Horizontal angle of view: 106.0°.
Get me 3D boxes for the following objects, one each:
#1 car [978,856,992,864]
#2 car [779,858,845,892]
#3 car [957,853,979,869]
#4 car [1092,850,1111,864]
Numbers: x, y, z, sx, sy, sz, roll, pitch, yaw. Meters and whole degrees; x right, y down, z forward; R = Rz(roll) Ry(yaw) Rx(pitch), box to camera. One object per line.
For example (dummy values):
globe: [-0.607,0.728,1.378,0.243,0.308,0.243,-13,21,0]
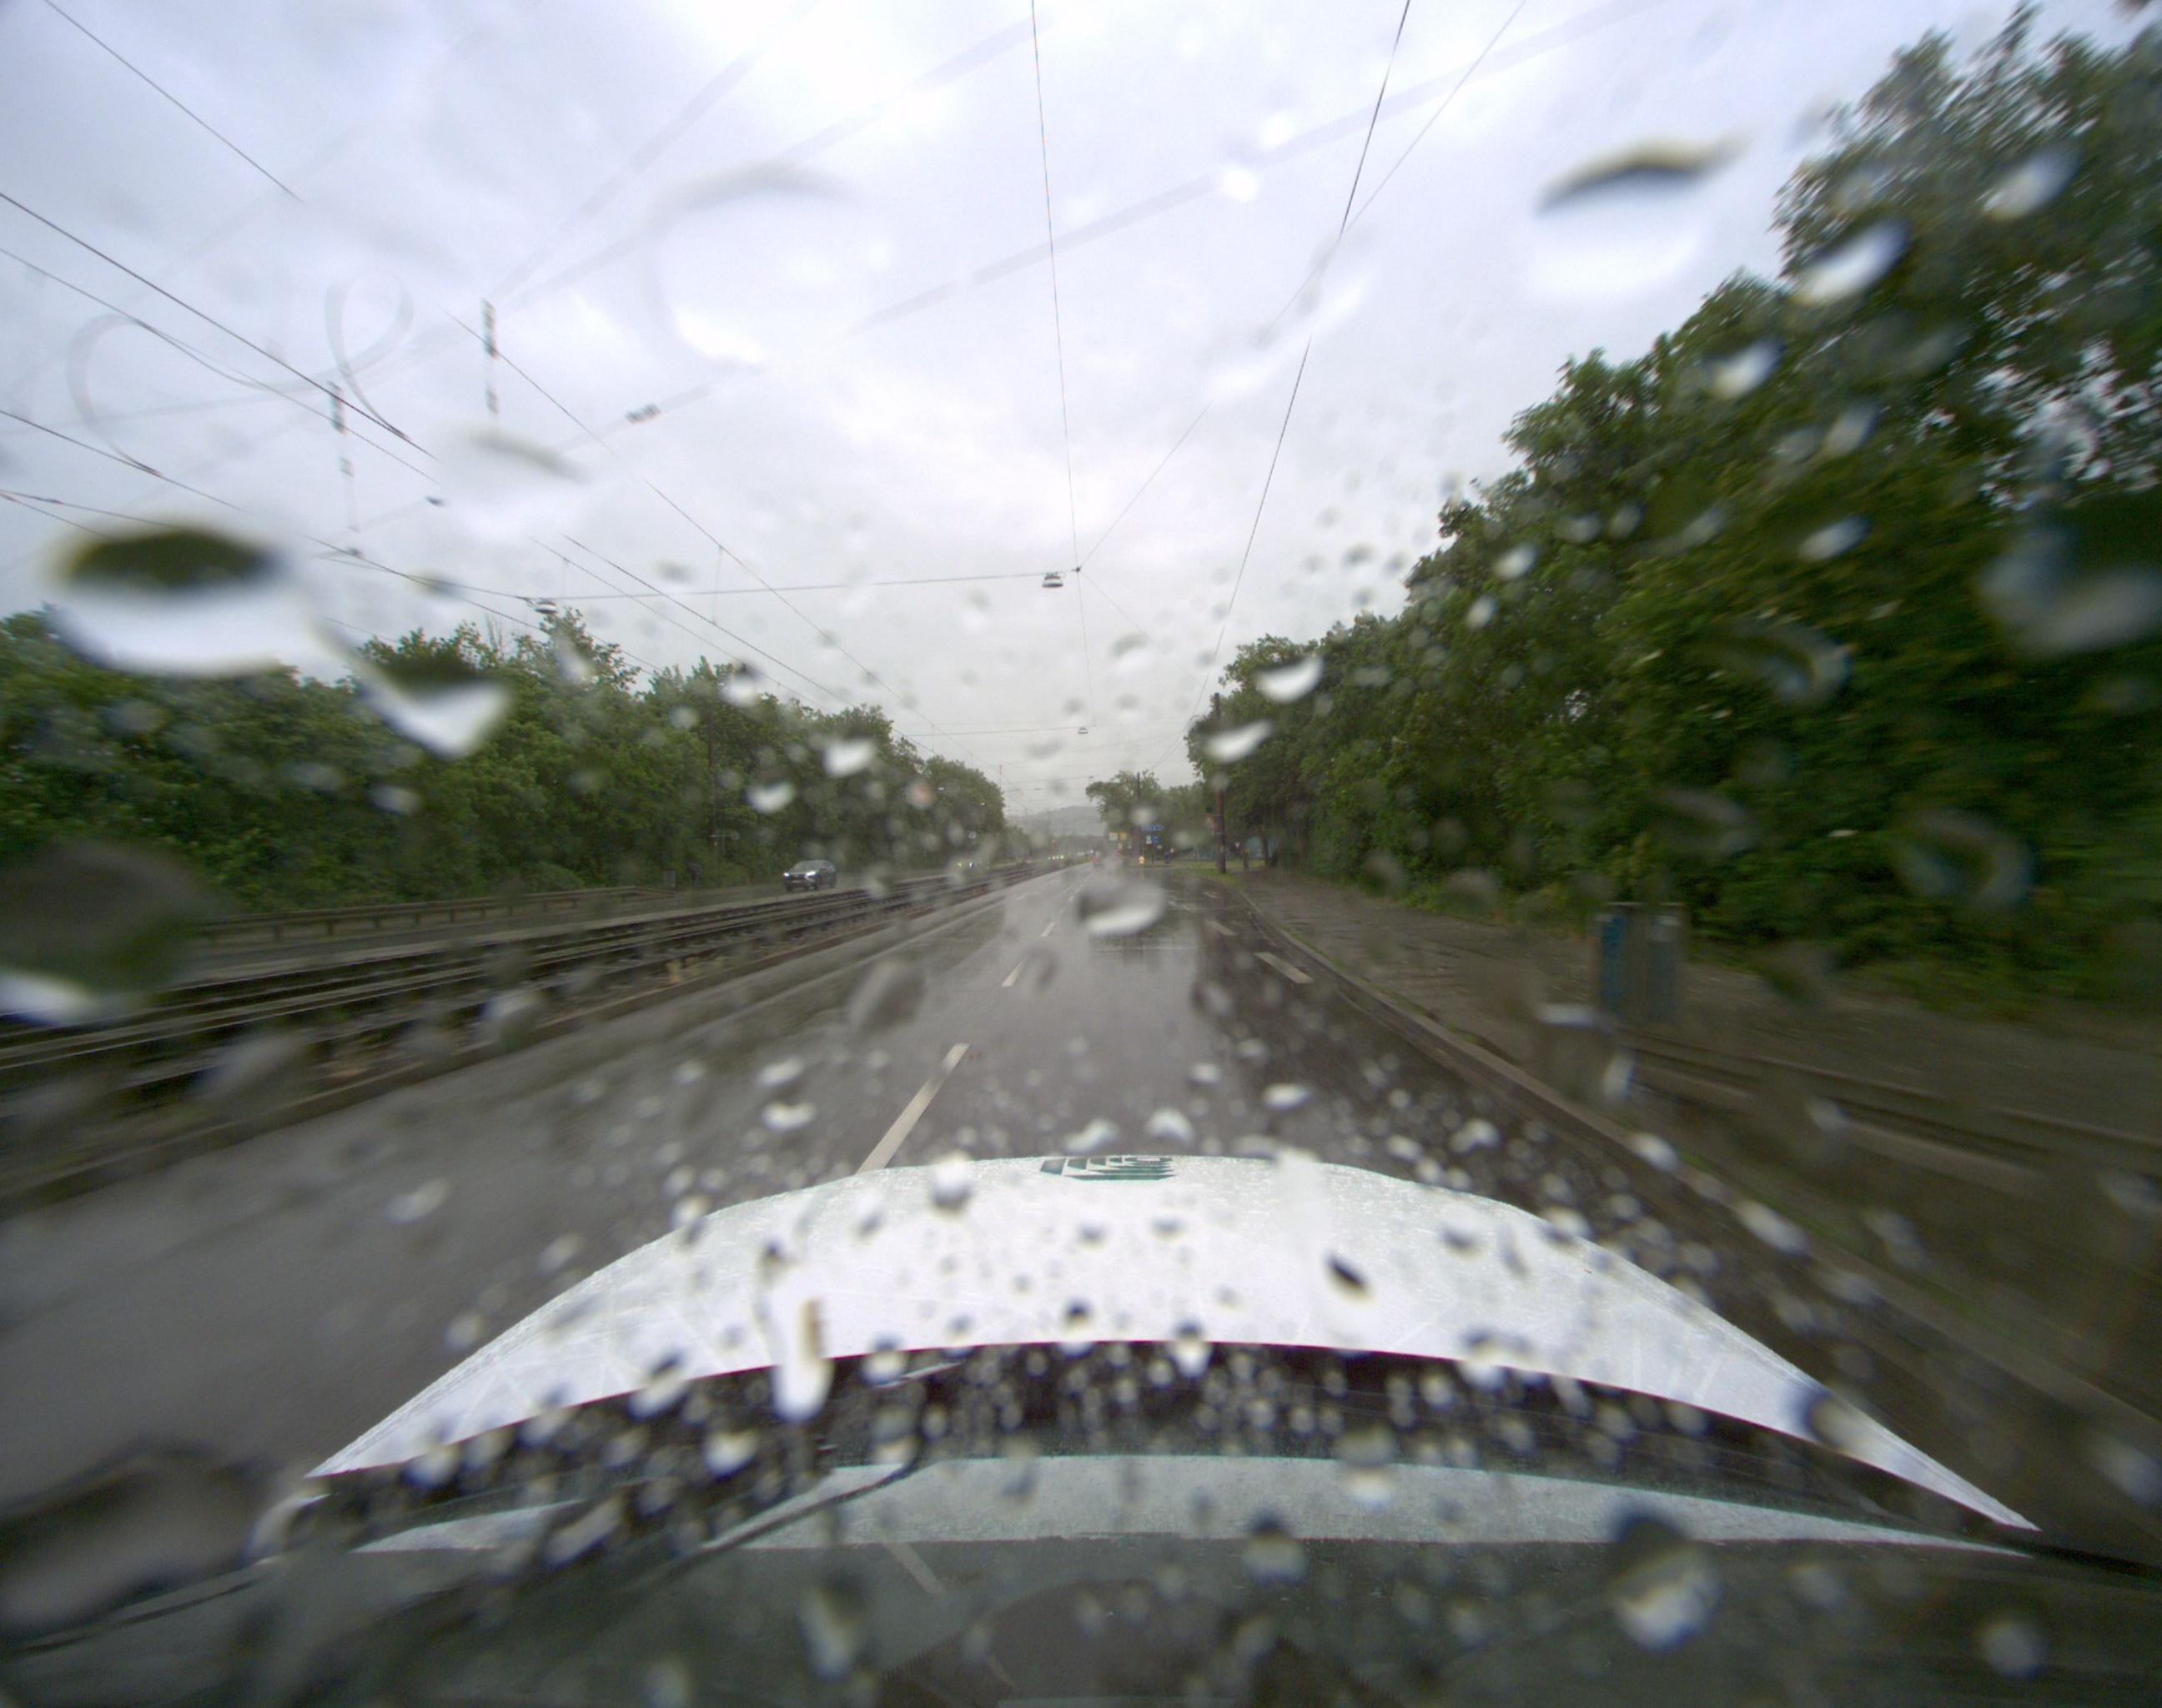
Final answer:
car: [-17.289,1.121,146.854,1.765,1.330,4.380,-2,0,1]
car: [-15.106,1.130,46.084,1.987,1.672,4.873,-2,1,1]
car: [-14.389,0.874,103.887,1.986,1.782,4.001,3,1,1]
car: [2.296,0.350,90.139,2.070,1.420,4.002,-3,0,2]
